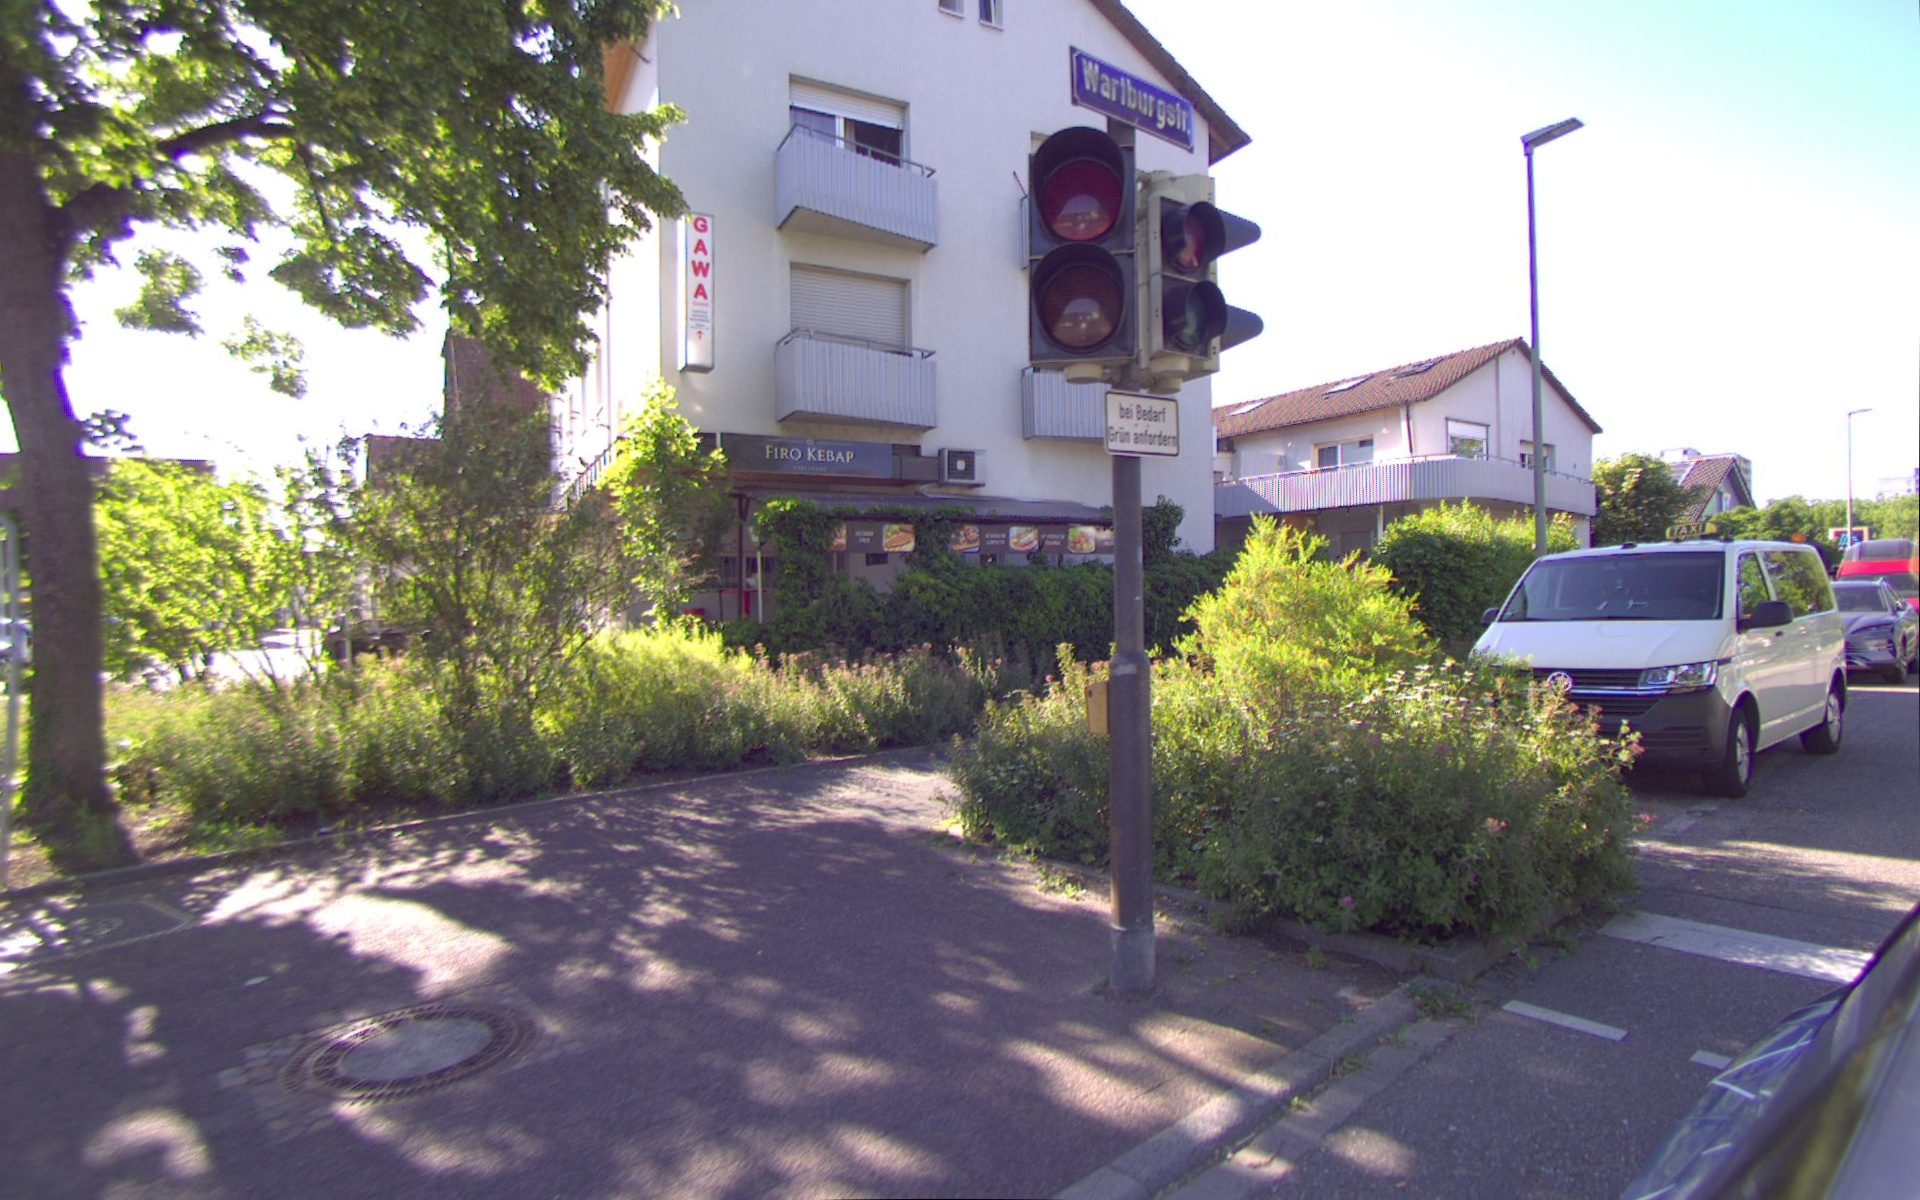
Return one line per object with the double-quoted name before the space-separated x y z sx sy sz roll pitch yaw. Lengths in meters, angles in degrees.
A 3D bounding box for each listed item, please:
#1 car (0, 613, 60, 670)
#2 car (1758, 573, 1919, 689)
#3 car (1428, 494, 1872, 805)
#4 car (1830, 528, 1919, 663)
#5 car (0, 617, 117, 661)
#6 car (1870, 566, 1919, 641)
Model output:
"car" -25.843 1.065 26.194 3.546 1.471 1.461 1 -1 -30
"car" 15.584 0.455 17.633 4.499 1.760 1.959 -1 -1 -43
"car" 6.308 0.293 9.055 4.495 2.105 1.998 -2 0 -38
"car" 20.673 -0.113 22.196 5.138 2.678 1.957 -1 -1 -45
"car" -26.261 1.081 28.603 3.547 1.210 1.346 1 -1 -31
"car" 25.783 0.058 26.929 4.483 1.872 1.858 -1 -2 -43
